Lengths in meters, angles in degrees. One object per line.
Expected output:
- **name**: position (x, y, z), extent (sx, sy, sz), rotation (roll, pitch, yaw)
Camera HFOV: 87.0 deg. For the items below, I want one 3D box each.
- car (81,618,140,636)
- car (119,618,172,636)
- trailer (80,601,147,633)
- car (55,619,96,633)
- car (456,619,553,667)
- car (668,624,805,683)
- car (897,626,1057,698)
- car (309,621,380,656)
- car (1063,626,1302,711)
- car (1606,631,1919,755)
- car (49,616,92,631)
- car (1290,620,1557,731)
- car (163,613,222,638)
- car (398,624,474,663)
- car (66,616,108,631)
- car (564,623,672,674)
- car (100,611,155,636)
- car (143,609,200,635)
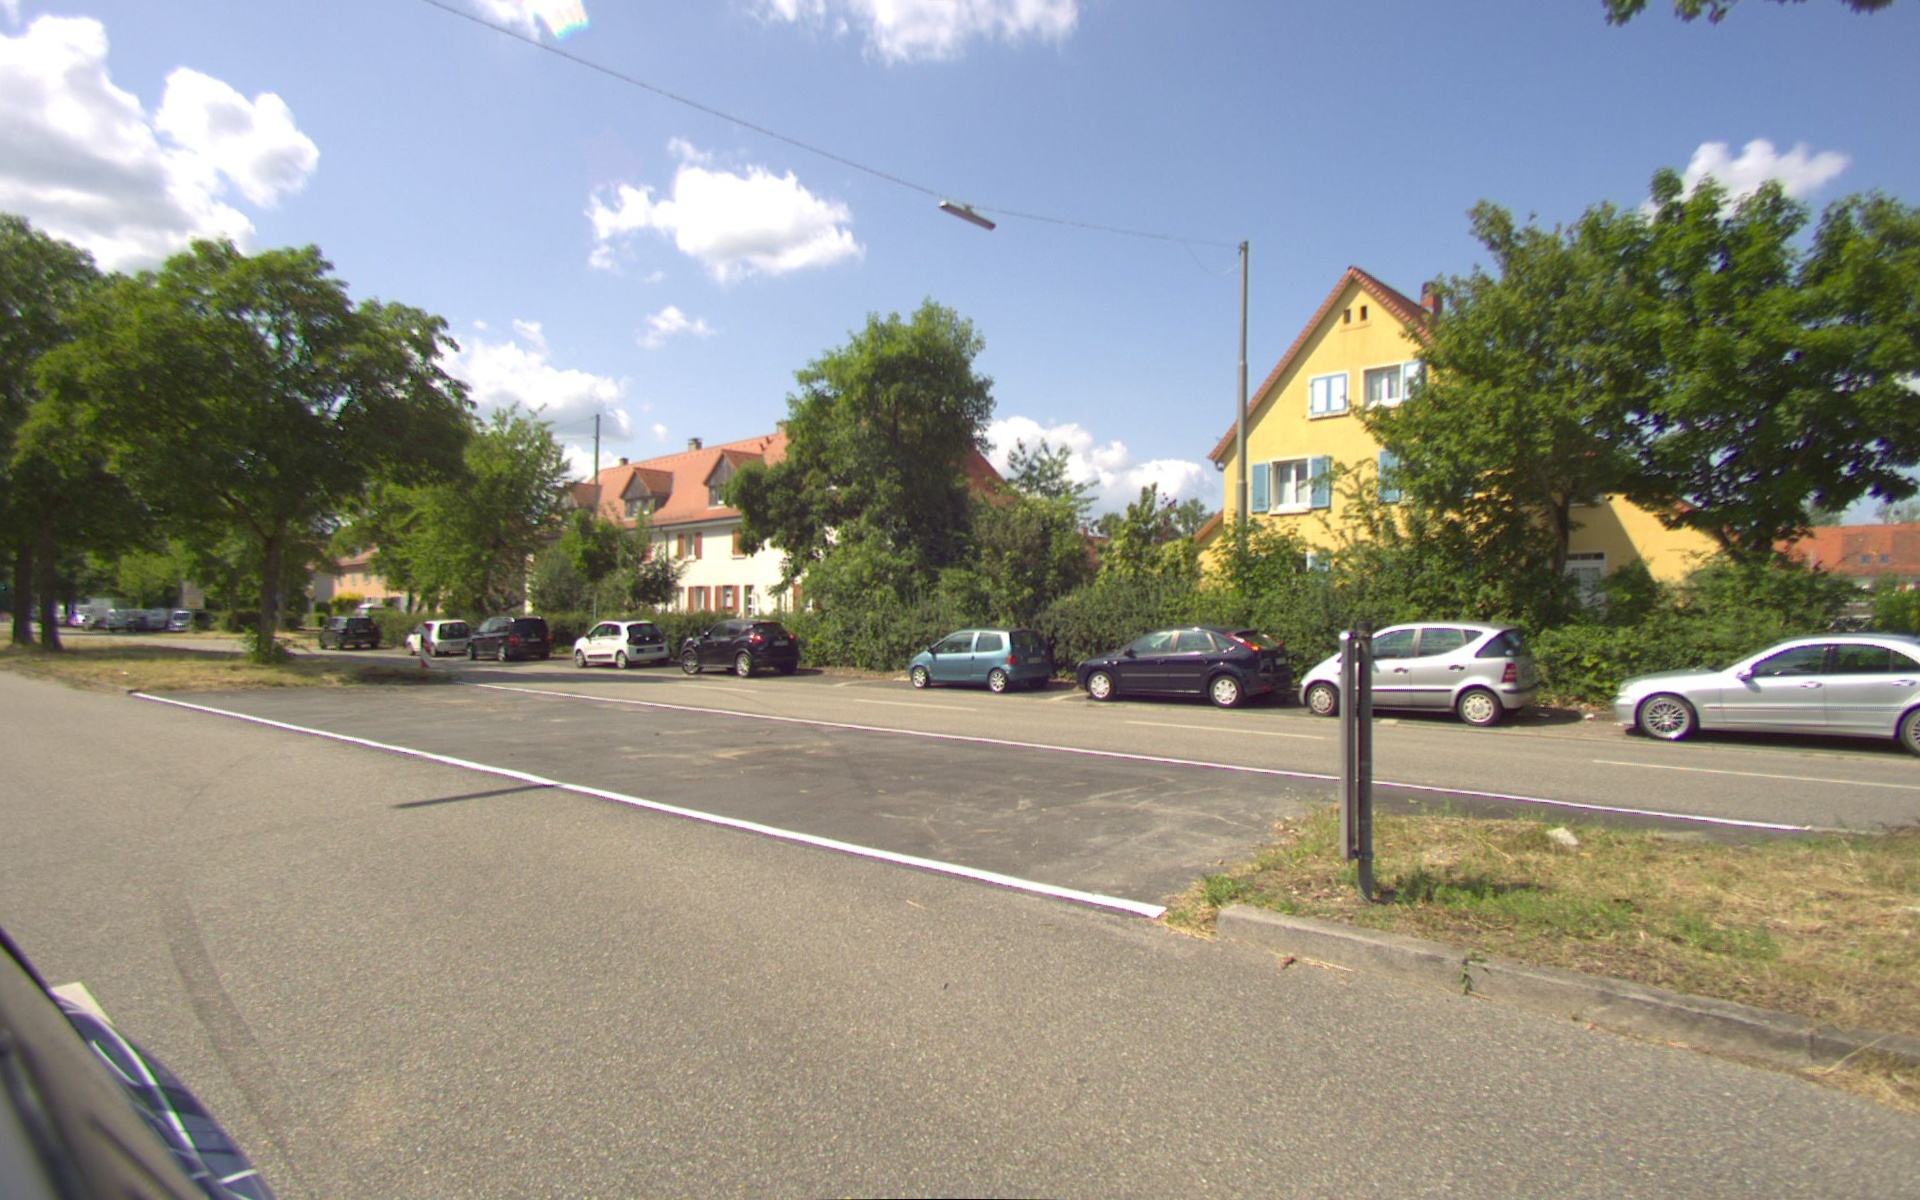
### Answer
- **car**: position (-78.782, 2.476, 93.846), extent (1.799, 1.521, 3.945), rotation (0, 1, 41)
- **car**: position (-72.290, 2.351, 89.855), extent (1.550, 1.408, 4.002), rotation (-1, 1, -2)
- **trailer**: position (-86.404, 1.698, 103.448), extent (2.782, 3.132, 5.767), rotation (-2, 0, -11)
- **car**: position (-100.875, 2.948, 115.433), extent (1.646, 1.358, 3.827), rotation (-1, 1, -8)
- **car**: position (-17.253, 1.561, 38.258), extent (4.311, 1.624, 1.643), rotation (0, 1, 40)
- **car**: position (-6.417, 1.483, 28.887), extent (4.100, 1.492, 1.643), rotation (-2, 0, 40)
- **car**: position (0.348, 1.351, 23.052), extent (3.475, 1.405, 1.546), rotation (0, 1, 41)
- **car**: position (-30.068, 1.850, 49.397), extent (3.997, 1.563, 1.749), rotation (0, 1, 40)
- **car**: position (4.173, 1.235, 19.457), extent (4.354, 1.405, 1.388), rotation (-1, 0, 41)
- **car**: position (11.142, 1.129, 13.052), extent (4.531, 1.380, 1.494), rotation (-1, 0, 43)
- **car**: position (-97.328, 2.577, 110.802), extent (1.646, 1.475, 3.827), rotation (-1, 1, -8)
- **car**: position (7.499, 1.137, 16.572), extent (3.740, 1.569, 1.388), rotation (-1, 0, 41)
- **car**: position (-60.324, 1.997, 79.634), extent (1.779, 1.874, 4.002), rotation (-1, -1, -2)
- **car**: position (-21.981, 1.783, 42.421), extent (3.532, 1.472, 1.578), rotation (0, 1, 40)
- **car**: position (-95.031, 2.541, 110.238), extent (1.646, 1.475, 3.827), rotation (-1, 1, -8)
- **car**: position (-11.348, 1.559, 33.482), extent (3.844, 1.462, 1.643), rotation (0, 1, 40)
- **car**: position (-74.806, 2.099, 91.009), extent (1.779, 2.029, 4.002), rotation (-1, 1, -2)
- **car**: position (-67.118, 1.859, 86.234), extent (1.779, 2.029, 4.002), rotation (-1, 1, -2)
